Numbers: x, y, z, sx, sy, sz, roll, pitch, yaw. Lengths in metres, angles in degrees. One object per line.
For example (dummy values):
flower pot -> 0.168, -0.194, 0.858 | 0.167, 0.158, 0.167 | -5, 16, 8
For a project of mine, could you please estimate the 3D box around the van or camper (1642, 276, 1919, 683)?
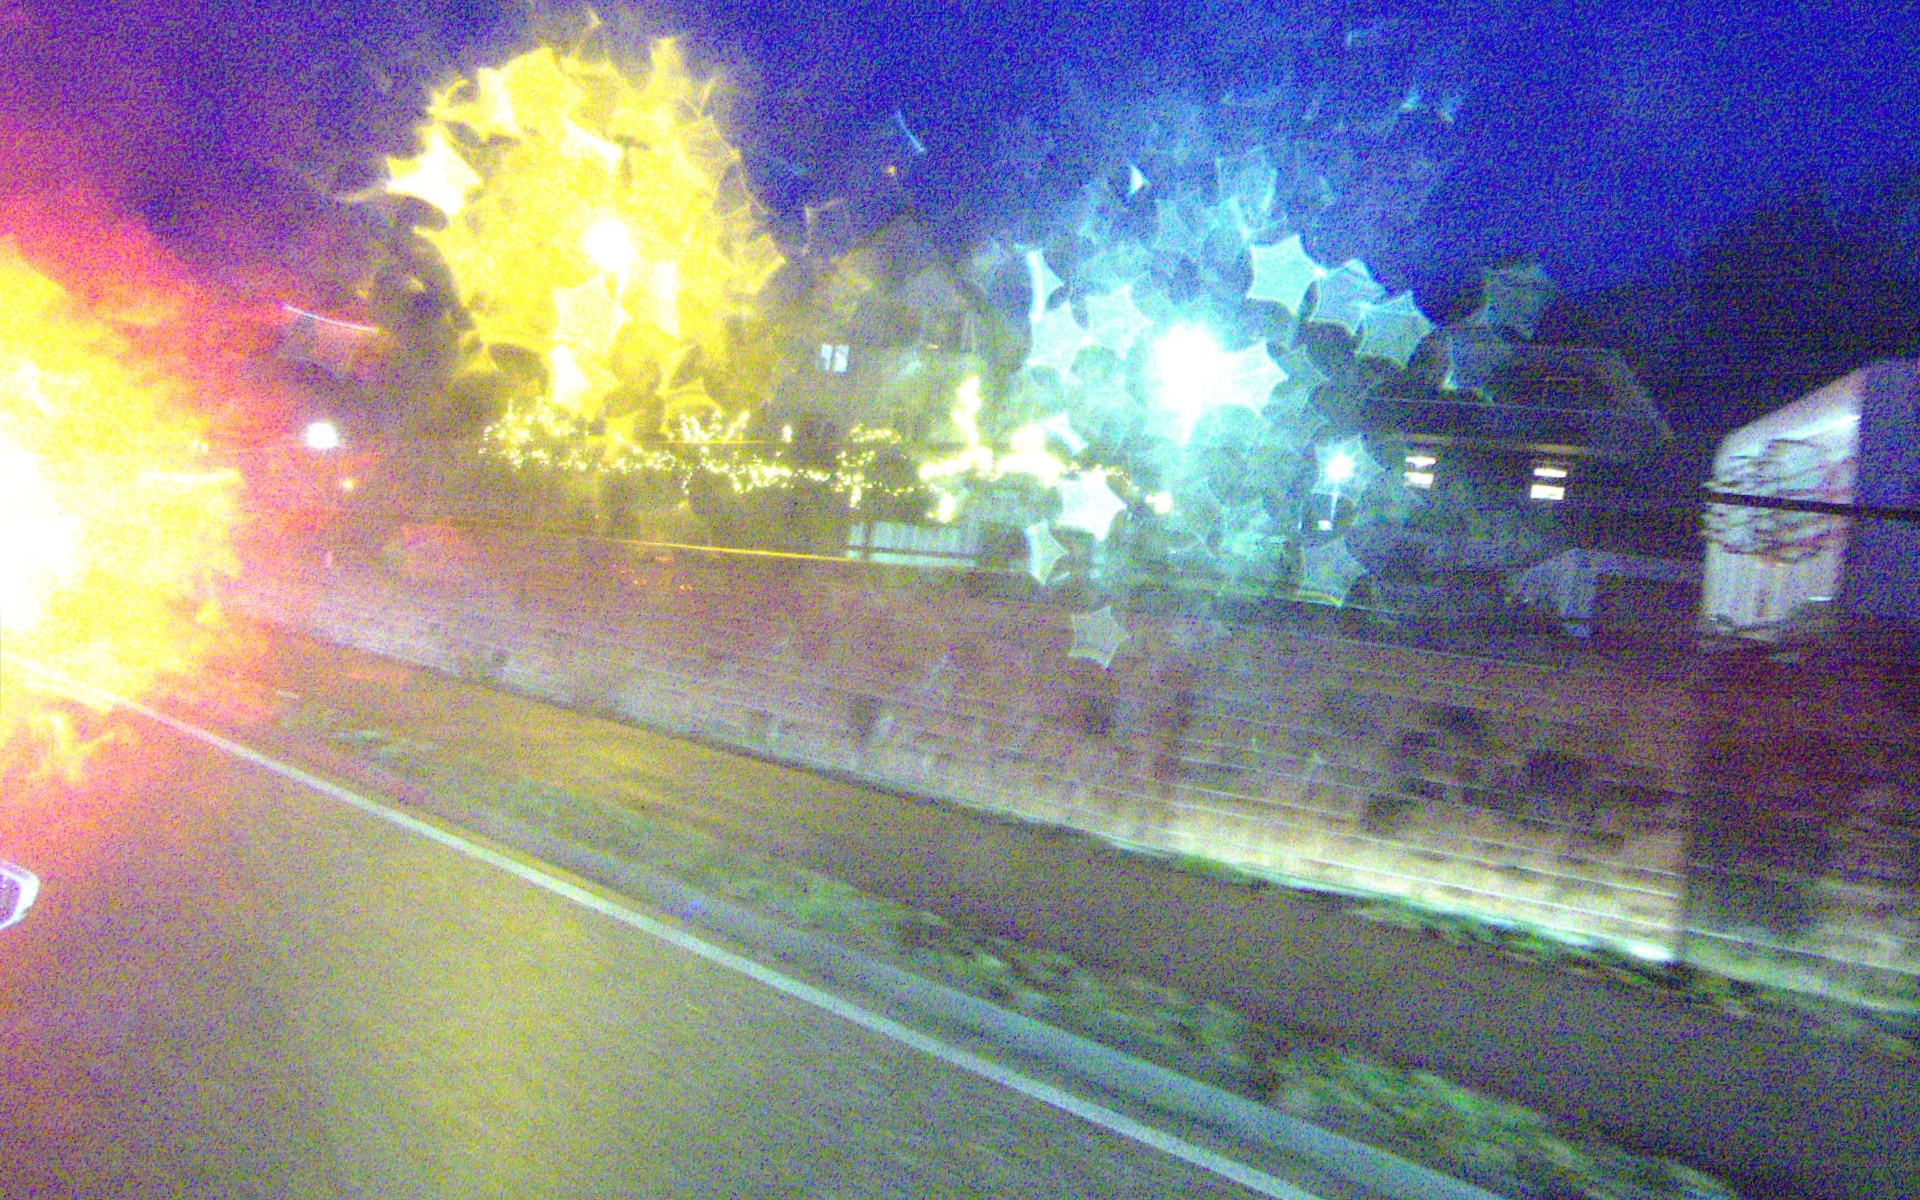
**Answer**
van or camper -> 9.977, -0.610, 8.444 | 6.237, 2.944, 2.590 | 7, 0, 12

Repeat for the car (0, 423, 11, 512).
car -> -10.647, -0.846, 9.168 | 4.151, 1.995, 1.944 | 7, 0, 35
